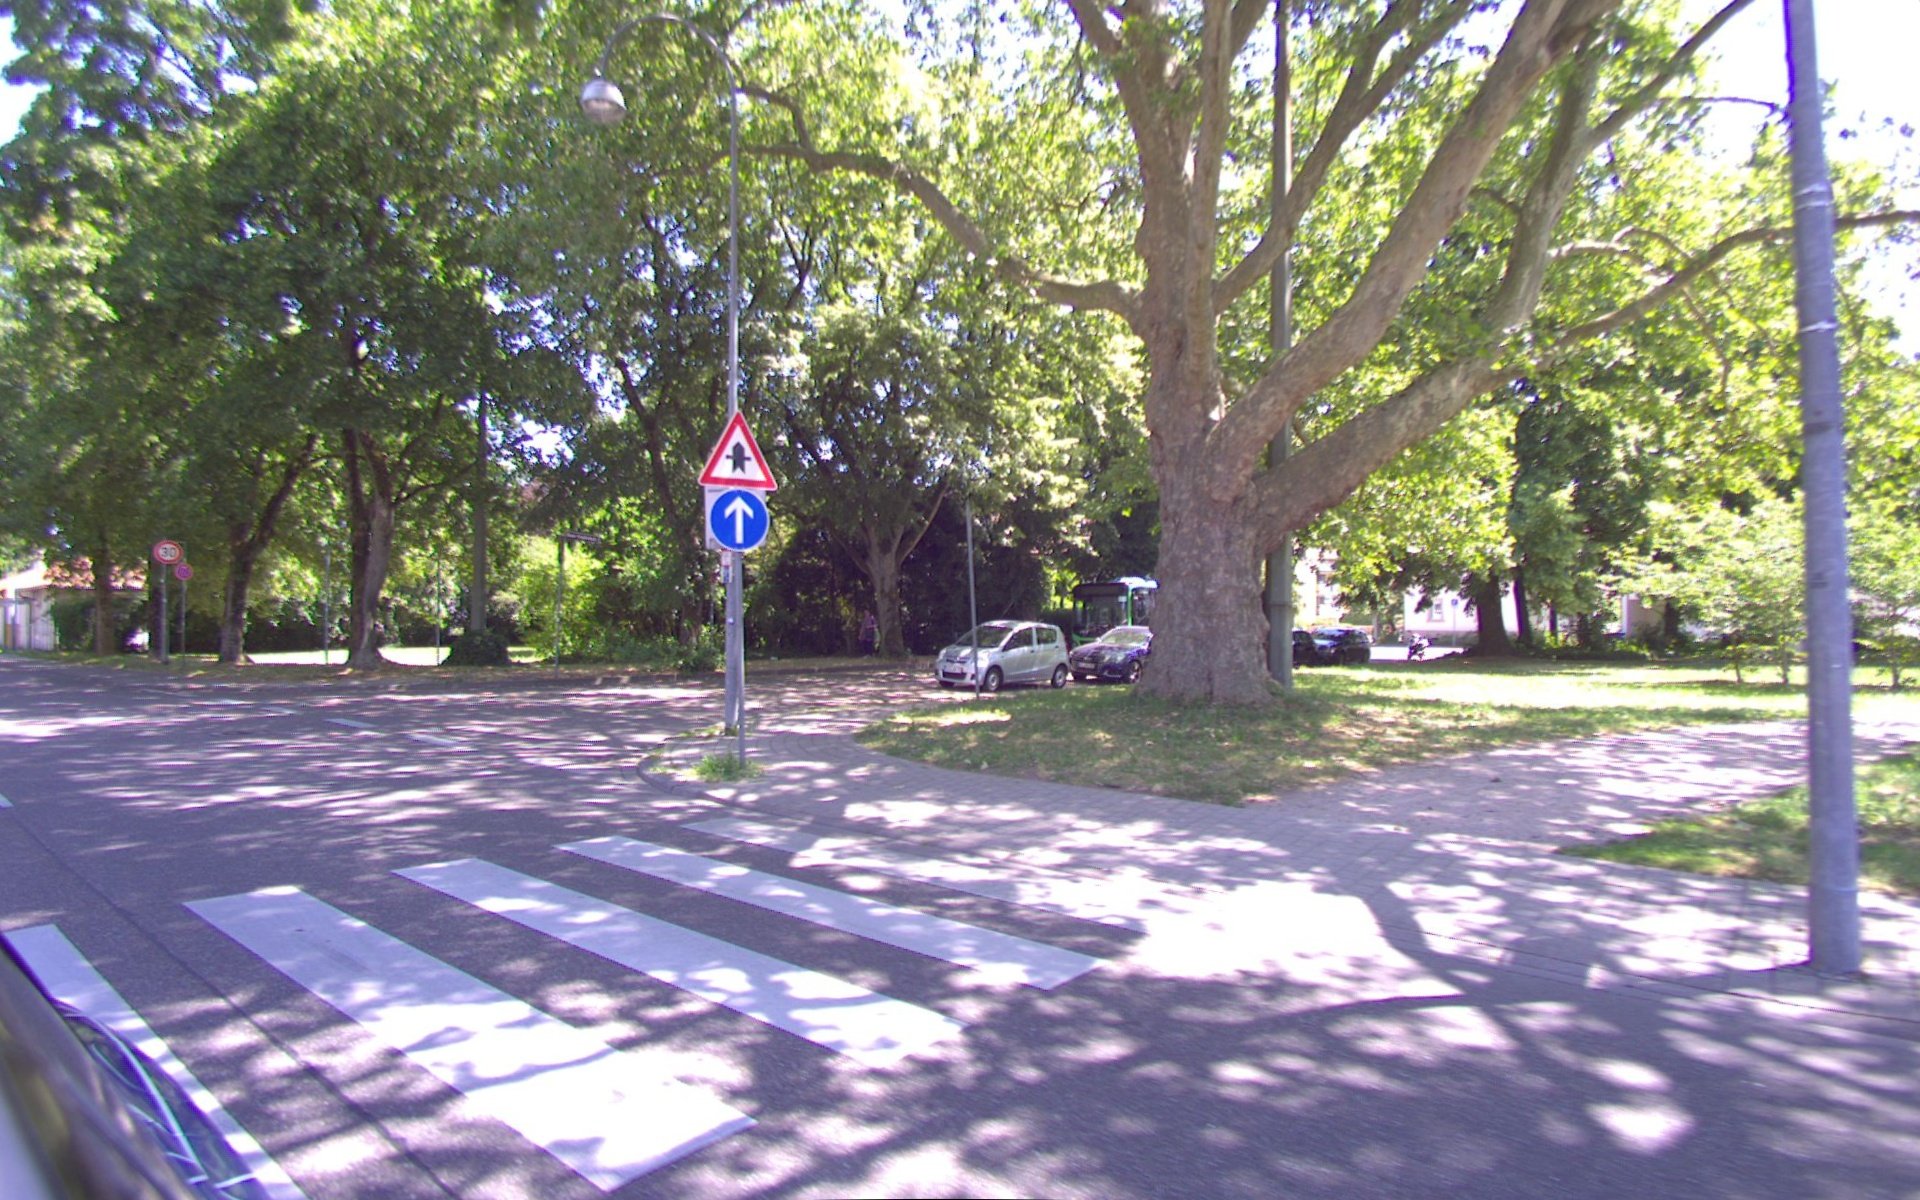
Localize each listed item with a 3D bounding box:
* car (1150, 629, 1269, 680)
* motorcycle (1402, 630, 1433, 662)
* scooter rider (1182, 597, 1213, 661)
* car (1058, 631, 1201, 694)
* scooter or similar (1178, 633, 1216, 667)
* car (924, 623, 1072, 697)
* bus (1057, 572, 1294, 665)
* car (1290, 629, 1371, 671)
[{"bbox_3d":[7.880,1.645,31.717,1.754,1.450,4.706,-1,-2,40],"label":"car"},{"bbox_3d":[21.212,2.131,46.908,0.713,1.437,2.230,-1,-2,40],"label":"motorcycle"},{"bbox_3d":[8.831,1.079,37.650,0.740,2.335,0.914,-2,-2,41],"label":"scooter rider"},{"bbox_3d":[4.575,1.584,26.825,1.755,1.450,4.443,0,-1,40],"label":"car"},{"bbox_3d":[8.825,1.844,37.624,0.740,1.192,1.498,-2,-2,41],"label":"scooter or similar"},{"bbox_3d":[0.918,1.302,22.960,1.599,1.508,3.439,0,-1,40],"label":"car"},{"bbox_3d":[9.738,0.841,43.002,2.875,3.320,15.737,-1,-2,40],"label":"bus"},{"bbox_3d":[14.221,1.873,38.734,1.758,1.504,3.866,-1,-2,39],"label":"car"}]
